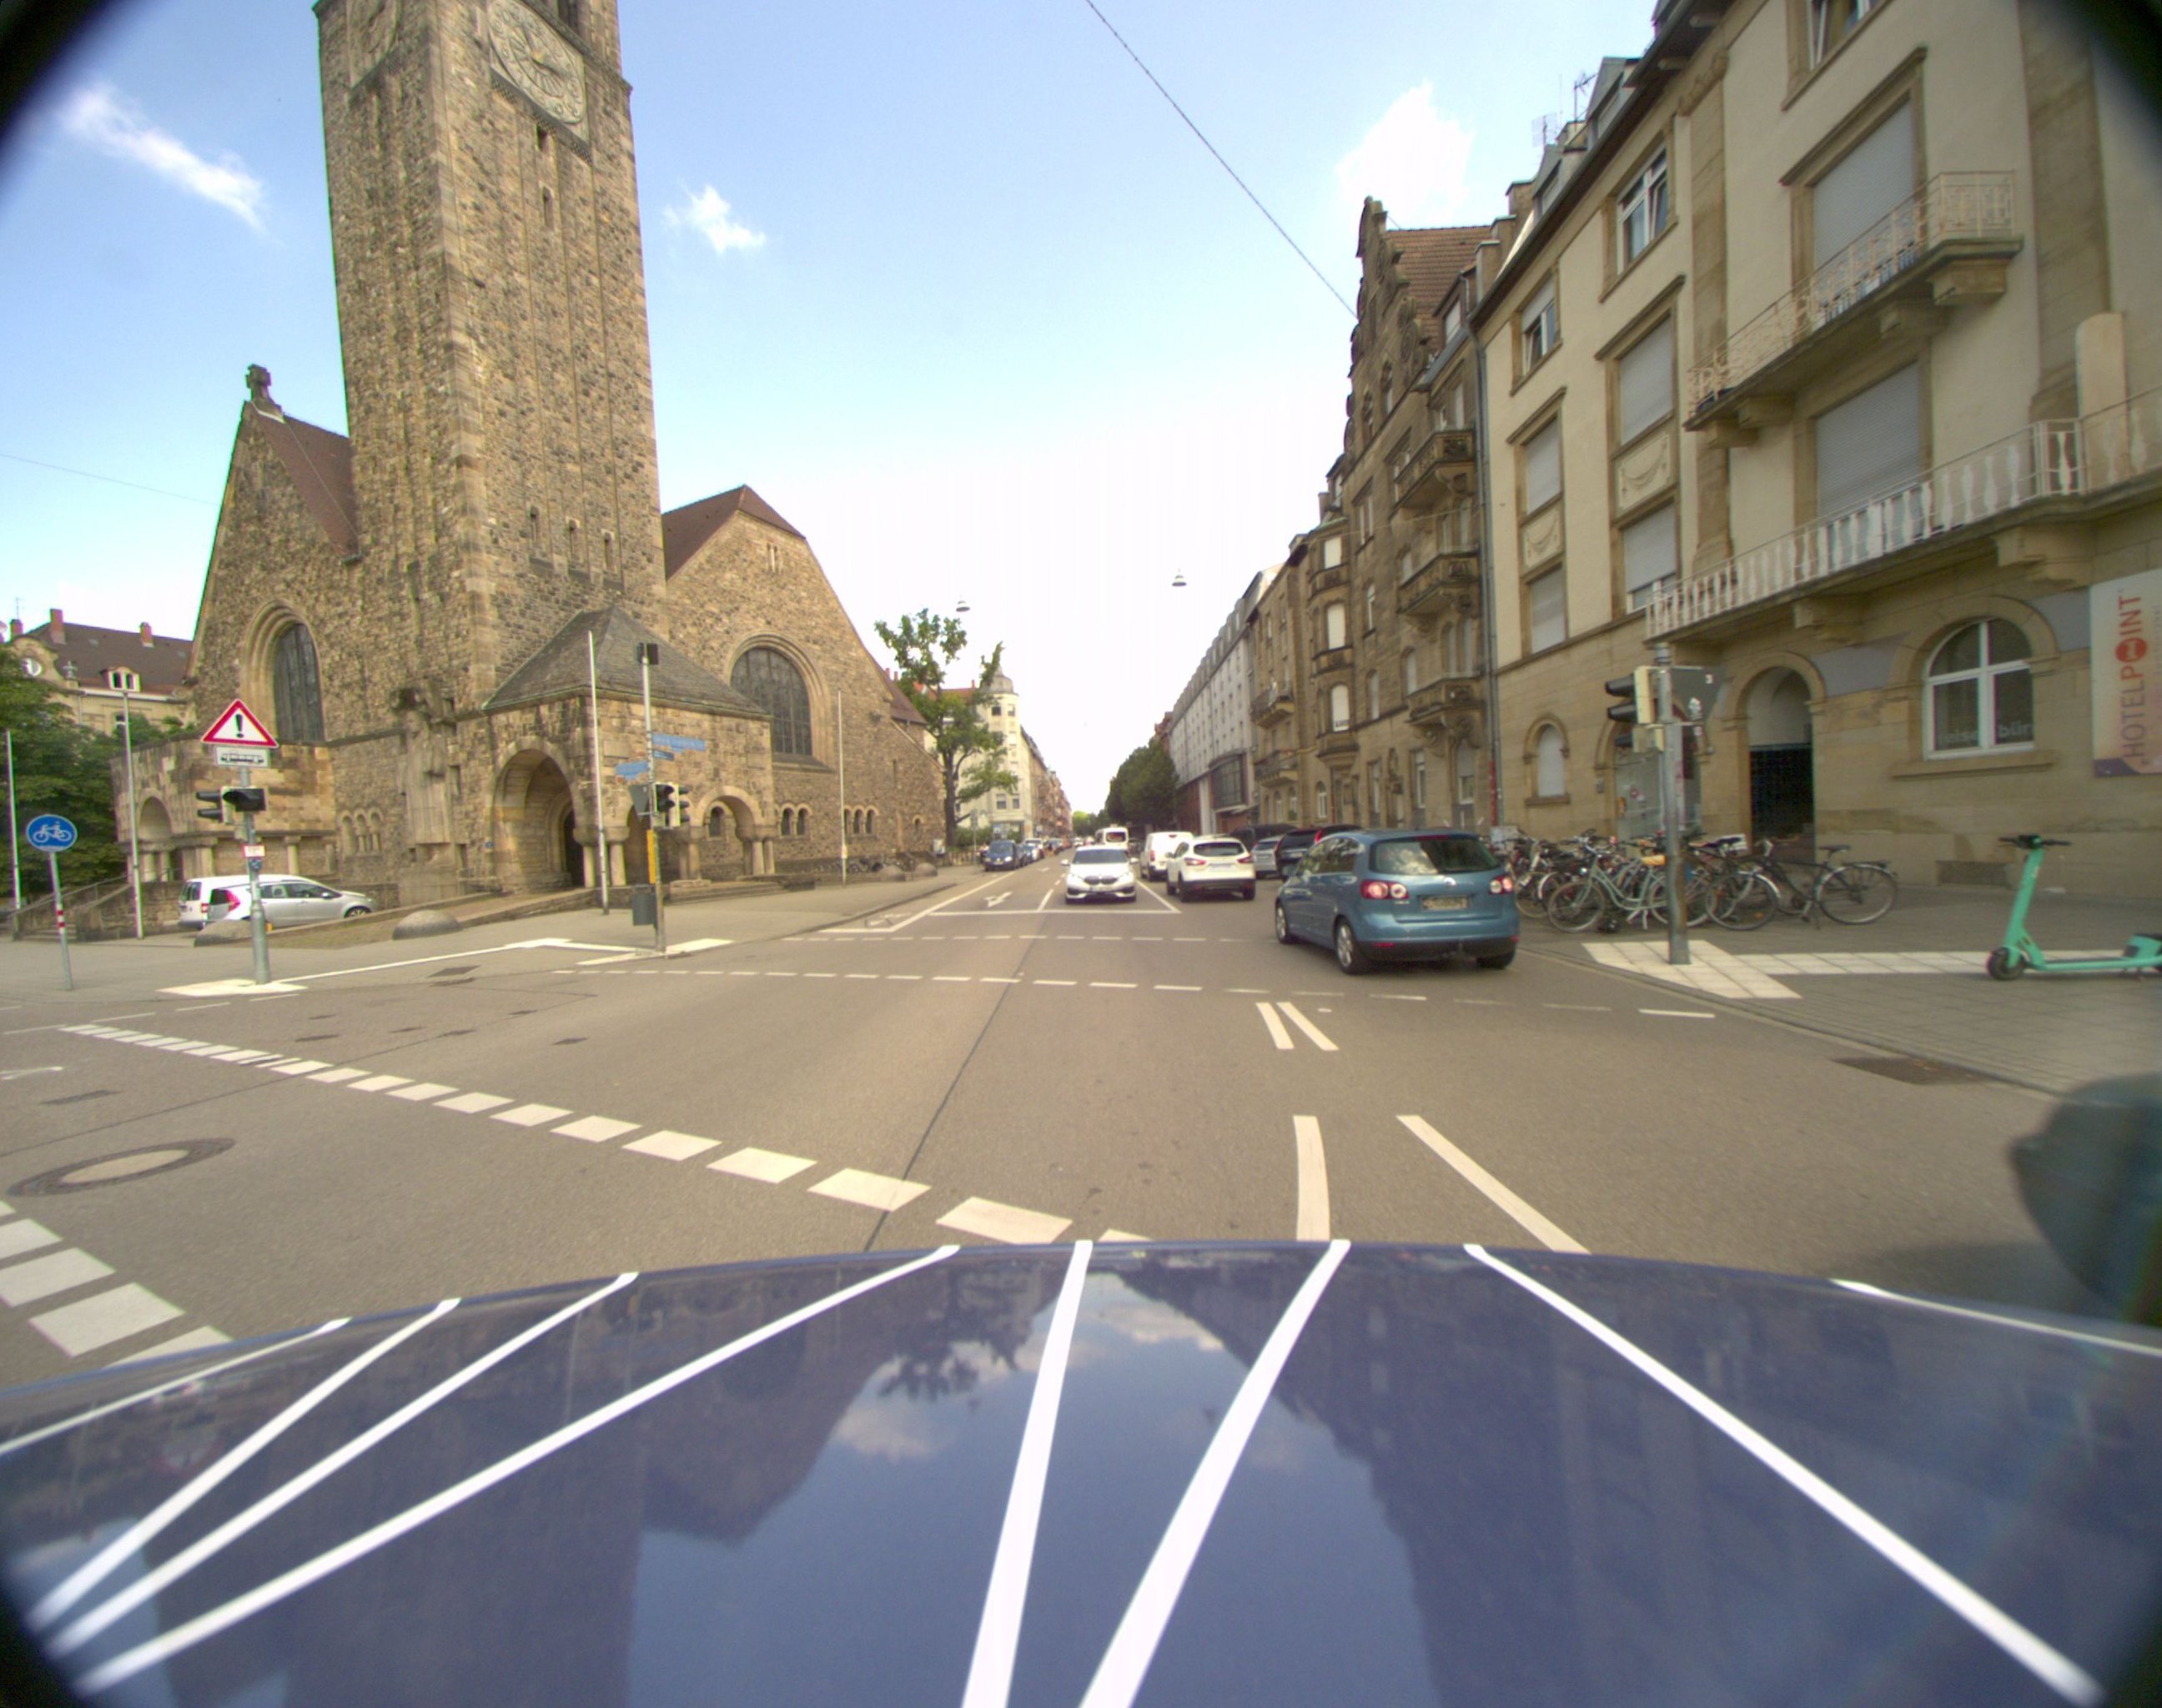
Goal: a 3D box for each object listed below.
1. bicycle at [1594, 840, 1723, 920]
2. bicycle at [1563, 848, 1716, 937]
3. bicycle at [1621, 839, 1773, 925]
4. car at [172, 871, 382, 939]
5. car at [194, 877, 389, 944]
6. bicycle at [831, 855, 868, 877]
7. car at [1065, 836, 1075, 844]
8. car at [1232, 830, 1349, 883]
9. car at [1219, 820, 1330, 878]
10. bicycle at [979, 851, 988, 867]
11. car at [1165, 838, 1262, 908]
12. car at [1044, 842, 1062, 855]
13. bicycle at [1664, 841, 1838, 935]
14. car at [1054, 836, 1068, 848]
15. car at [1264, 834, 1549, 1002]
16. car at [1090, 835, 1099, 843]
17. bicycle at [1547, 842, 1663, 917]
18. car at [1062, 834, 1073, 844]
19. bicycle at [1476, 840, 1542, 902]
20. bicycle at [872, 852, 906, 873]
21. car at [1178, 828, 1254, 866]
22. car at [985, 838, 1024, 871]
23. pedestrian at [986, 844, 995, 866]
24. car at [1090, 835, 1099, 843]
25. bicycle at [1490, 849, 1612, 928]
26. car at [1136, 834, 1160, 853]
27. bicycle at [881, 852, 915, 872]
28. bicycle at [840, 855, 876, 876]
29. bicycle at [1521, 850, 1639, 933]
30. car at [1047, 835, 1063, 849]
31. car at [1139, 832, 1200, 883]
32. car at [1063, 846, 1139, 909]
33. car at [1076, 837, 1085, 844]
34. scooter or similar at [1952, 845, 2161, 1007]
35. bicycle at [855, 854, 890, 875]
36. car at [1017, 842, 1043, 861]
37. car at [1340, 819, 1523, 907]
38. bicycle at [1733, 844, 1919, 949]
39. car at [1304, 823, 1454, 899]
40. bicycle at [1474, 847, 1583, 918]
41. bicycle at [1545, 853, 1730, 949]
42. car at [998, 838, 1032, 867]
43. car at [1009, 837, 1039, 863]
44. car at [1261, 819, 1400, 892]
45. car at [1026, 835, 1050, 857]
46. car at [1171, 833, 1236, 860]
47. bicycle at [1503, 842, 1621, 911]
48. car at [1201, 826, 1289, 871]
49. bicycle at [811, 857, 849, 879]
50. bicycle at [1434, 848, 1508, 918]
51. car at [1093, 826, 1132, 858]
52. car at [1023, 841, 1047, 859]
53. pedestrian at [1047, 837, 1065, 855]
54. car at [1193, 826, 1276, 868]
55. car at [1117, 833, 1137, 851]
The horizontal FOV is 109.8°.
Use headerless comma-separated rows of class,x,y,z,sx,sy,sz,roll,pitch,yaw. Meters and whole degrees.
bicycle,8.625,0.375,11.371,1.483,1.046,0.462,-5,1,2
bicycle,7.508,0.509,10.261,1.580,1.046,0.481,-5,1,9
bicycle,8.607,0.387,10.663,1.580,1.046,0.481,-5,1,9
car,-26.620,1.640,25.351,1.995,1.843,4.312,-4,0,25
car,-23.921,1.673,23.174,1.815,1.668,3.643,-4,0,23
bicycle,-12.529,0.648,41.119,1.934,1.106,0.587,1,3,22
car,-2.499,-3.134,170.663,1.809,1.756,4.186,-3,1,2
car,7.313,0.076,26.351,3.960,1.421,1.727,-6,1,-37
car,7.442,-0.216,29.107,3.959,1.857,1.727,-6,2,-32
bicycle,-6.618,0.335,51.483,0.480,1.046,1.442,-3,1,-4
car,3.300,0.425,19.716,1.775,1.573,4.020,-2,1,0
car,-3.264,-0.665,89.982,1.809,1.360,4.186,-3,1,2
bicycle,8.464,0.425,9.643,1.612,1.046,0.481,-5,1,9
car,-3.140,-1.882,117.311,1.809,1.756,4.186,-3,1,2
car,3.598,0.577,9.254,1.751,1.532,3.931,-3,1,0
car,2.841,-3.302,164.331,1.809,1.591,4.186,-3,1,2
bicycle,8.327,0.389,12.098,1.483,1.046,0.462,-5,1,-2
car,-2.636,-2.890,146.478,1.809,1.902,4.186,-3,1,2
bicycle,8.523,0.310,15.092,1.907,1.046,0.556,-6,2,-43
bicycle,-11.152,0.485,44.085,1.934,1.106,0.587,1,3,22
car,7.340,-0.375,41.089,3.960,1.576,1.727,-7,1,-38
car,-4.551,-0.002,45.753,1.682,1.781,4.145,-3,1,2
pedestrian,-6.122,0.088,51.468,0.466,1.447,0.556,-3,2,-4
car,2.855,-3.075,157.039,1.809,1.591,4.186,-3,1,2
bicycle,7.101,0.517,11.510,1.483,1.046,0.462,-5,1,1
car,6.026,-0.942,69.041,1.891,1.556,3.890,-3,1,2
bicycle,-10.800,0.445,44.808,1.934,1.106,0.587,1,3,22
bicycle,-12.241,0.613,41.776,1.934,1.106,0.587,1,3,22
bicycle,7.204,0.537,10.992,1.372,1.046,0.418,-6,1,-1
car,-3.512,-1.619,104.161,1.809,1.756,4.186,-3,1,2
car,3.319,0.117,29.145,1.816,1.765,4.283,-2,0,0
car,0.566,0.545,20.671,1.826,1.440,4.385,-1,1,2
car,-0.008,-3.090,172.759,1.809,1.654,4.186,-3,1,2
scooter or similar,7.766,0.555,5.876,1.251,1.140,0.481,-5,2,19
bicycle,-11.710,0.559,42.631,1.934,1.106,0.587,1,3,22
car,-4.140,-0.212,61.870,1.682,1.439,3.797,-3,1,2
car,7.639,0.151,16.423,4.005,1.449,1.808,-6,1,-36
bicycle,8.391,0.476,8.601,1.441,1.046,0.481,-5,1,11
car,7.625,0.139,19.290,3.960,1.449,1.727,-7,1,-40
bicycle,7.402,0.467,12.597,1.483,1.046,0.462,-4,1,-2
bicycle,6.886,0.593,9.486,1.733,1.046,0.531,-5,1,17
car,-4.386,-0.134,50.881,1.682,1.781,3.999,-3,1,2
car,-4.261,-0.347,57.197,1.682,1.781,3.999,-3,1,2
car,7.275,0.015,22.015,3.960,1.680,1.798,-7,1,-38
car,-4.010,-0.737,71.675,1.844,1.927,4.186,-3,1,2
car,7.615,-0.481,47.019,3.961,1.465,1.727,-4,2,-38
bicycle,8.317,0.378,13.171,1.631,1.046,0.558,-5,1,0
car,7.575,-0.261,34.956,3.959,1.577,1.727,-8,3,-38
bicycle,-13.114,0.723,39.655,1.934,1.106,0.587,1,3,22
bicycle,6.966,0.495,13.537,1.815,1.046,0.556,-6,2,-44
car,2.464,-0.897,61.013,2.083,2.431,5.941,-1,0,-7
car,-4.042,-0.390,67.190,1.682,1.488,3.890,-3,1,2
pedestrian,-2.659,-0.852,81.174,1.316,1.748,1.370,-4,2,-40
car,7.681,-0.351,37.861,3.959,1.577,1.727,-8,2,-38
car,4.662,-1.225,77.253,1.891,1.642,3.890,-3,1,2
